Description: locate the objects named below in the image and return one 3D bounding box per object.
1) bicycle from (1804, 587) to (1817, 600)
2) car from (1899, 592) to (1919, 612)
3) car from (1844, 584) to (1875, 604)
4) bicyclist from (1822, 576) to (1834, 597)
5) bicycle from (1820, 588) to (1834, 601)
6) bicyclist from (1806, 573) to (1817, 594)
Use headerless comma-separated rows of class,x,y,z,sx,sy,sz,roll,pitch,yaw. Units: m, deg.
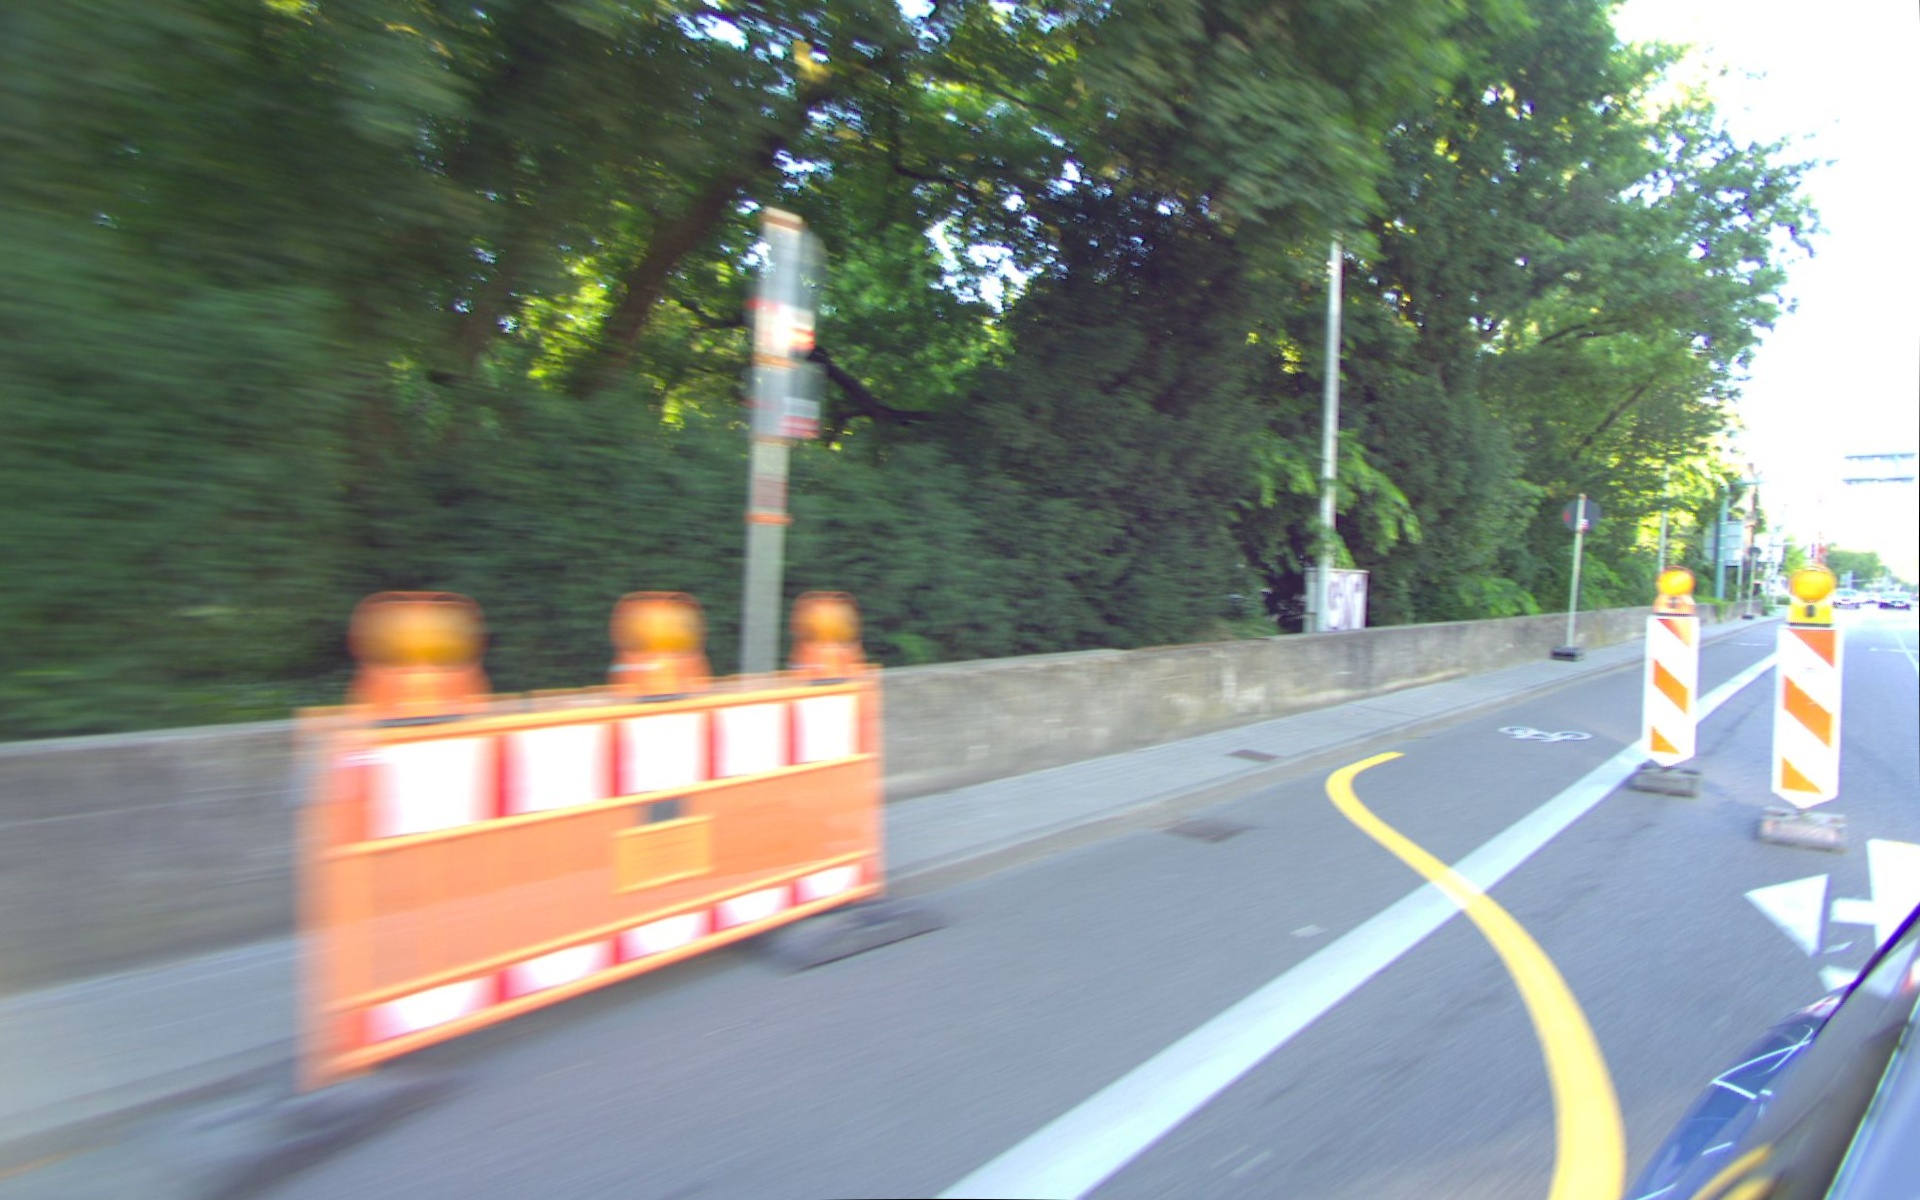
bicycle,72.871,-0.566,86.710,2.015,1.063,0.528,-3,7,-44
car,79.575,0.132,84.480,1.698,1.617,4.193,3,2,43
car,76.663,-0.527,86.226,1.829,1.617,4.193,3,2,43
bicyclist,73.779,-1.160,86.040,0.755,1.722,0.704,1,0,-45
bicycle,73.626,-0.480,85.919,0.719,1.064,2.011,0,2,45
bicyclist,73.009,-1.407,86.748,0.755,1.721,0.509,-2,6,-44
